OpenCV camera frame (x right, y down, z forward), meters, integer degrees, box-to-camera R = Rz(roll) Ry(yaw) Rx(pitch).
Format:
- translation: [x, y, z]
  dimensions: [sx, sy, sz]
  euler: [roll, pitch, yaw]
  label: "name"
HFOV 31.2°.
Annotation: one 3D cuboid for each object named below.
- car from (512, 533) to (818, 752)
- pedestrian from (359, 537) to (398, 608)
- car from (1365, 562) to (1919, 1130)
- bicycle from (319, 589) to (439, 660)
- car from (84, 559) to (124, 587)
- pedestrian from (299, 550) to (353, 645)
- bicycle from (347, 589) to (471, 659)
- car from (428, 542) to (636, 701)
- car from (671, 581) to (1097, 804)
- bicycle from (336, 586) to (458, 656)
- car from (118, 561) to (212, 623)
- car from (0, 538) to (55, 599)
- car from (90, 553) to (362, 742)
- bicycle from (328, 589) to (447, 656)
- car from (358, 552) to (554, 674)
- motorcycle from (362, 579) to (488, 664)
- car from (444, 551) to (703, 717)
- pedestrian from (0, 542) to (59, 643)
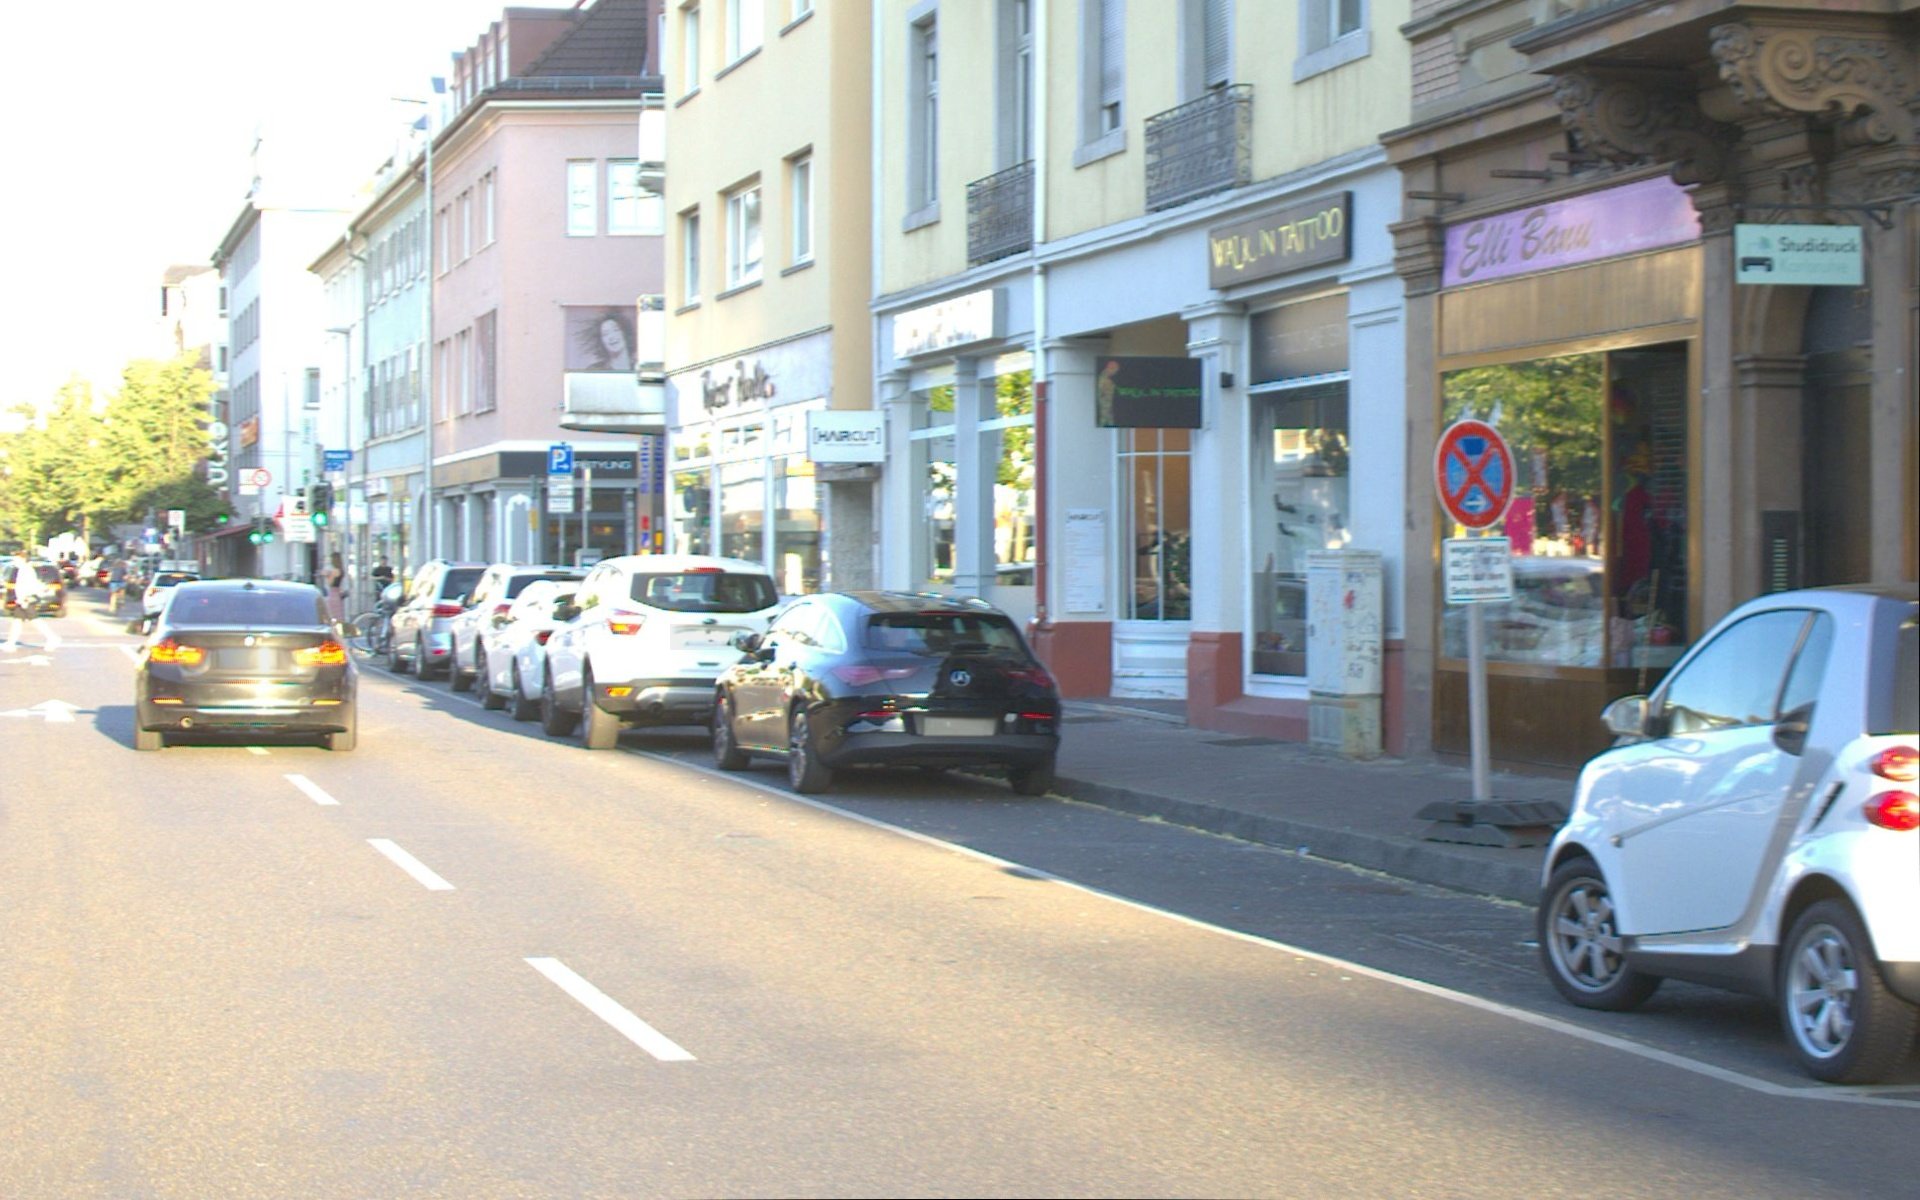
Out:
- translation: [-2.746, 0.316, 30.963]
  dimensions: [1.881, 1.739, 4.661]
  euler: [0, 2, -16]
  label: "car"
- translation: [-14.638, -0.699, 86.501]
  dimensions: [0.757, 1.771, 1.049]
  euler: [1, 0, -20]
  label: "pedestrian"
- translation: [3.004, 0.704, 12.291]
  dimensions: [1.699, 1.579, 4.001]
  euler: [0, 2, -15]
  label: "car"
- translation: [-9.700, 0.409, 57.390]
  dimensions: [1.883, 1.163, 0.723]
  euler: [0, 1, -19]
  label: "bicycle"
- translation: [-49.782, -1.582, 199.909]
  dimensions: [1.893, 1.590, 4.001]
  euler: [1, 1, -19]
  label: "car"
- translation: [-11.577, -0.043, 62.772]
  dimensions: [0.794, 1.715, 0.812]
  euler: [1, 0, -21]
  label: "pedestrian"
- translation: [-8.843, 0.390, 55.211]
  dimensions: [1.883, 1.109, 0.593]
  euler: [1, -1, -19]
  label: "bicycle"
- translation: [-5.318, 0.217, 42.262]
  dimensions: [1.867, 1.756, 4.410]
  euler: [0, 2, -16]
  label: "car"
- translation: [-0.691, 0.608, 25.319]
  dimensions: [1.993, 1.429, 4.852]
  euler: [1, 1, -15]
  label: "car"
- translation: [-9.173, 0.345, 55.985]
  dimensions: [1.883, 1.109, 0.521]
  euler: [1, 0, -19]
  label: "bicycle"
- translation: [-21.686, -0.228, 93.687]
  dimensions: [2.333, 1.598, 3.895]
  euler: [1, 1, -15]
  label: "car"
- translation: [-27.910, -0.938, 102.005]
  dimensions: [1.993, 1.744, 4.001]
  euler: [1, 1, -15]
  label: "car"
- translation: [-6.327, 0.357, 29.318]
  dimensions: [1.888, 1.487, 4.206]
  euler: [1, 0, -17]
  label: "car"
- translation: [-9.700, 0.380, 58.229]
  dimensions: [1.883, 1.109, 0.762]
  euler: [1, 0, -19]
  label: "bicycle"
- translation: [-7.102, 0.153, 48.029]
  dimensions: [1.993, 1.607, 4.805]
  euler: [0, 1, -17]
  label: "car"
- translation: [-8.286, 0.325, 53.238]
  dimensions: [1.811, 1.259, 0.716]
  euler: [-1, 1, -18]
  label: "motorcycle"
- translation: [-4.189, 0.310, 36.568]
  dimensions: [2.015, 1.538, 4.871]
  euler: [0, 2, -15]
  label: "car"
- translation: [-15.963, -0.127, 58.662]
  dimensions: [0.869, 1.715, 0.759]
  euler: [1, 0, -40]
  label: "pedestrian"
